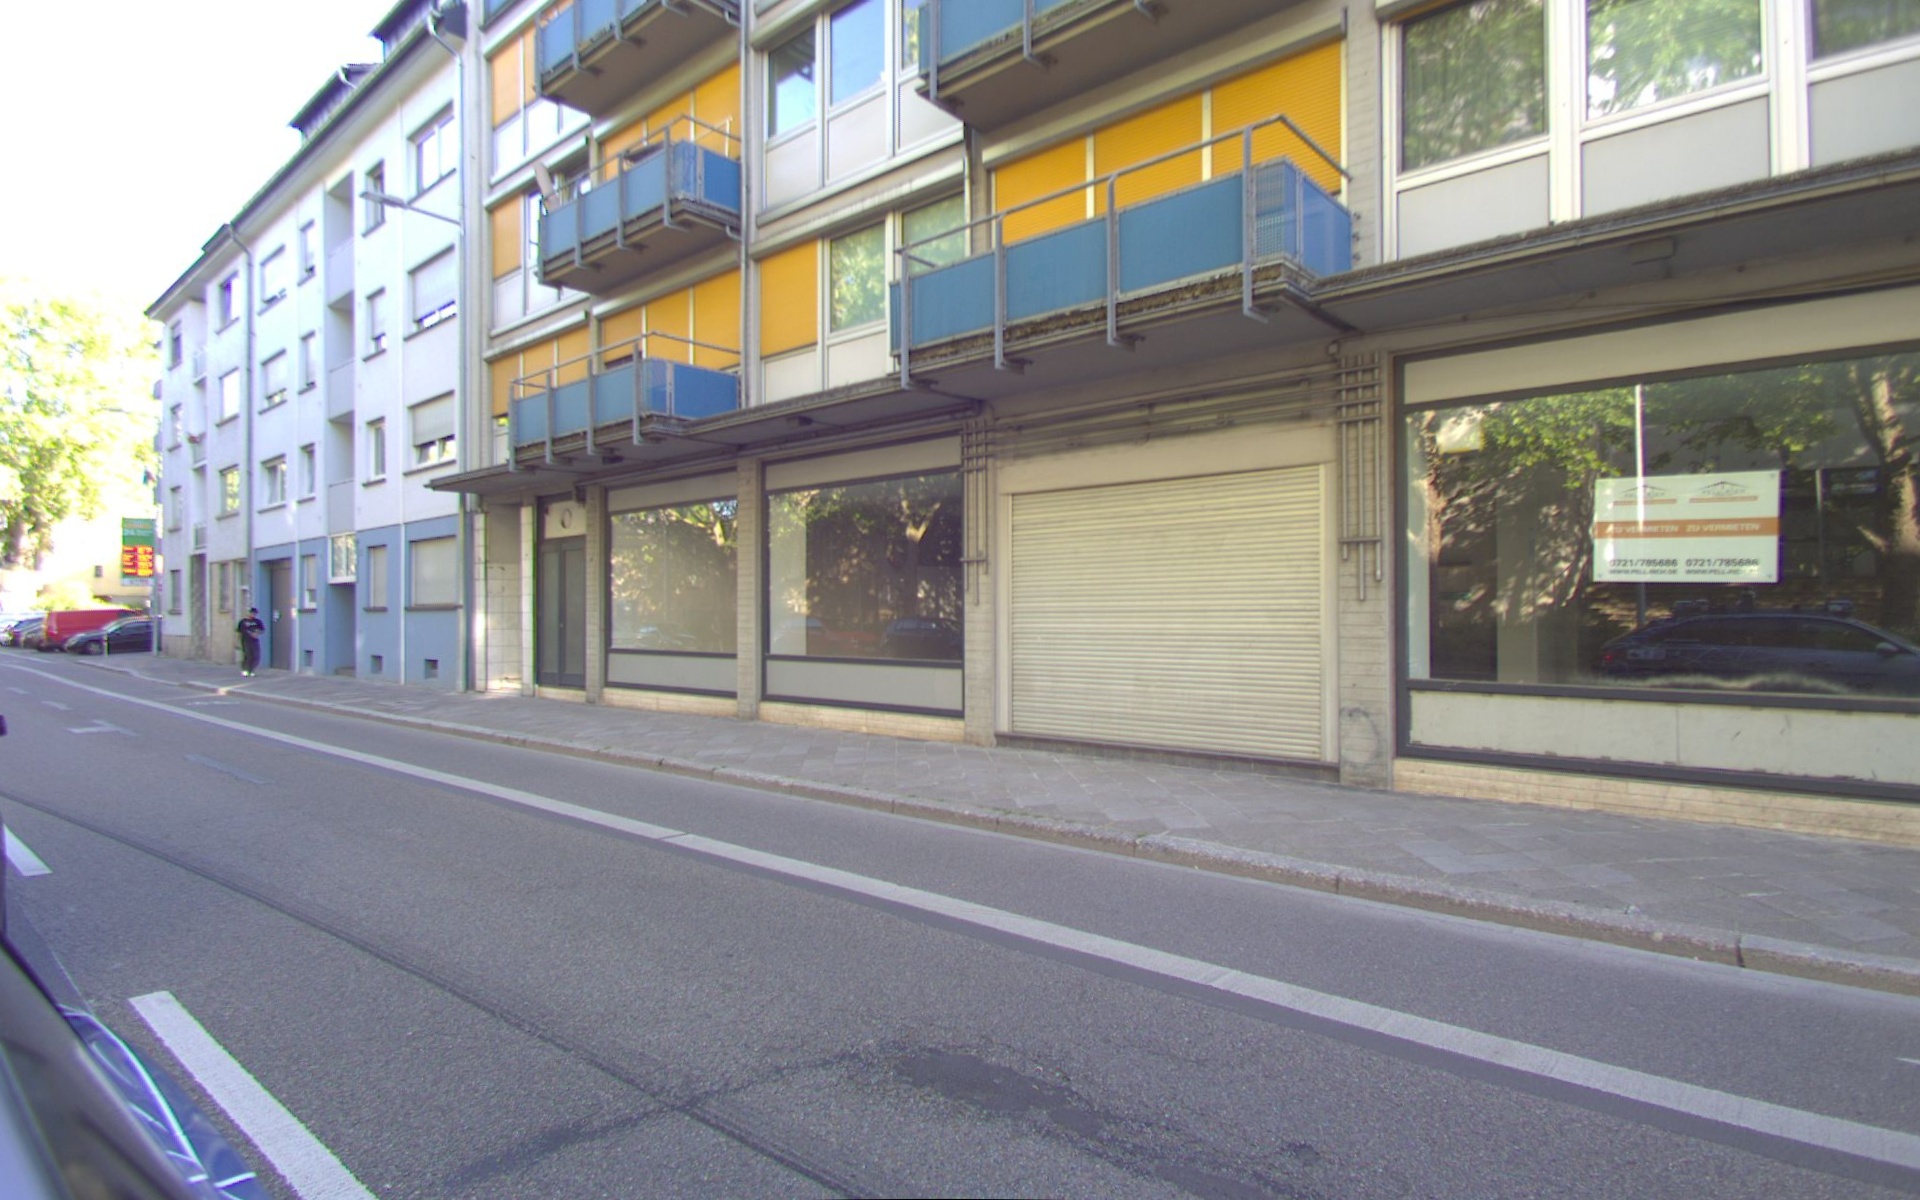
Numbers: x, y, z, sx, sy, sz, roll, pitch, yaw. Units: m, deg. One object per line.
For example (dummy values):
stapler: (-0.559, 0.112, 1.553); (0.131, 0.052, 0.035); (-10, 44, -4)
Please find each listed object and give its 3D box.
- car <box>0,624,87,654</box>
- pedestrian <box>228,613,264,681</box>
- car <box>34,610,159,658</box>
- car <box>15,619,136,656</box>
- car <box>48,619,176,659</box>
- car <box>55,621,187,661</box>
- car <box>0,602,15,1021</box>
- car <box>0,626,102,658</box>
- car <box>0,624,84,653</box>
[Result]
car: (-54.497, 2.277, 59.790); (1.652, 1.480, 4.201); (-1, 1, 41)
pedestrian: (-18.228, 1.189, 25.829); (0.655, 1.708, 0.604); (-2, -1, 41)
car: (-40.569, 1.557, 47.618); (1.817, 1.933, 4.202); (-1, 1, 40)
car: (-42.757, 1.788, 49.014); (1.652, 1.480, 4.201); (-1, 1, 41)
car: (-38.188, 1.729, 45.656); (1.652, 1.480, 4.201); (-1, 1, 41)
car: (-36.495, 1.742, 44.093); (1.652, 1.411, 4.201); (-1, 1, 41)
car: (-5.645, 0.795, 4.403); (4.300, 1.510, 1.826); (-1, -1, 41)
car: (-50.464, 2.291, 56.105); (1.652, 1.480, 4.201); (-1, 1, 41)
car: (-55.878, 2.297, 61.198); (1.652, 1.480, 4.201); (-1, 1, 41)
